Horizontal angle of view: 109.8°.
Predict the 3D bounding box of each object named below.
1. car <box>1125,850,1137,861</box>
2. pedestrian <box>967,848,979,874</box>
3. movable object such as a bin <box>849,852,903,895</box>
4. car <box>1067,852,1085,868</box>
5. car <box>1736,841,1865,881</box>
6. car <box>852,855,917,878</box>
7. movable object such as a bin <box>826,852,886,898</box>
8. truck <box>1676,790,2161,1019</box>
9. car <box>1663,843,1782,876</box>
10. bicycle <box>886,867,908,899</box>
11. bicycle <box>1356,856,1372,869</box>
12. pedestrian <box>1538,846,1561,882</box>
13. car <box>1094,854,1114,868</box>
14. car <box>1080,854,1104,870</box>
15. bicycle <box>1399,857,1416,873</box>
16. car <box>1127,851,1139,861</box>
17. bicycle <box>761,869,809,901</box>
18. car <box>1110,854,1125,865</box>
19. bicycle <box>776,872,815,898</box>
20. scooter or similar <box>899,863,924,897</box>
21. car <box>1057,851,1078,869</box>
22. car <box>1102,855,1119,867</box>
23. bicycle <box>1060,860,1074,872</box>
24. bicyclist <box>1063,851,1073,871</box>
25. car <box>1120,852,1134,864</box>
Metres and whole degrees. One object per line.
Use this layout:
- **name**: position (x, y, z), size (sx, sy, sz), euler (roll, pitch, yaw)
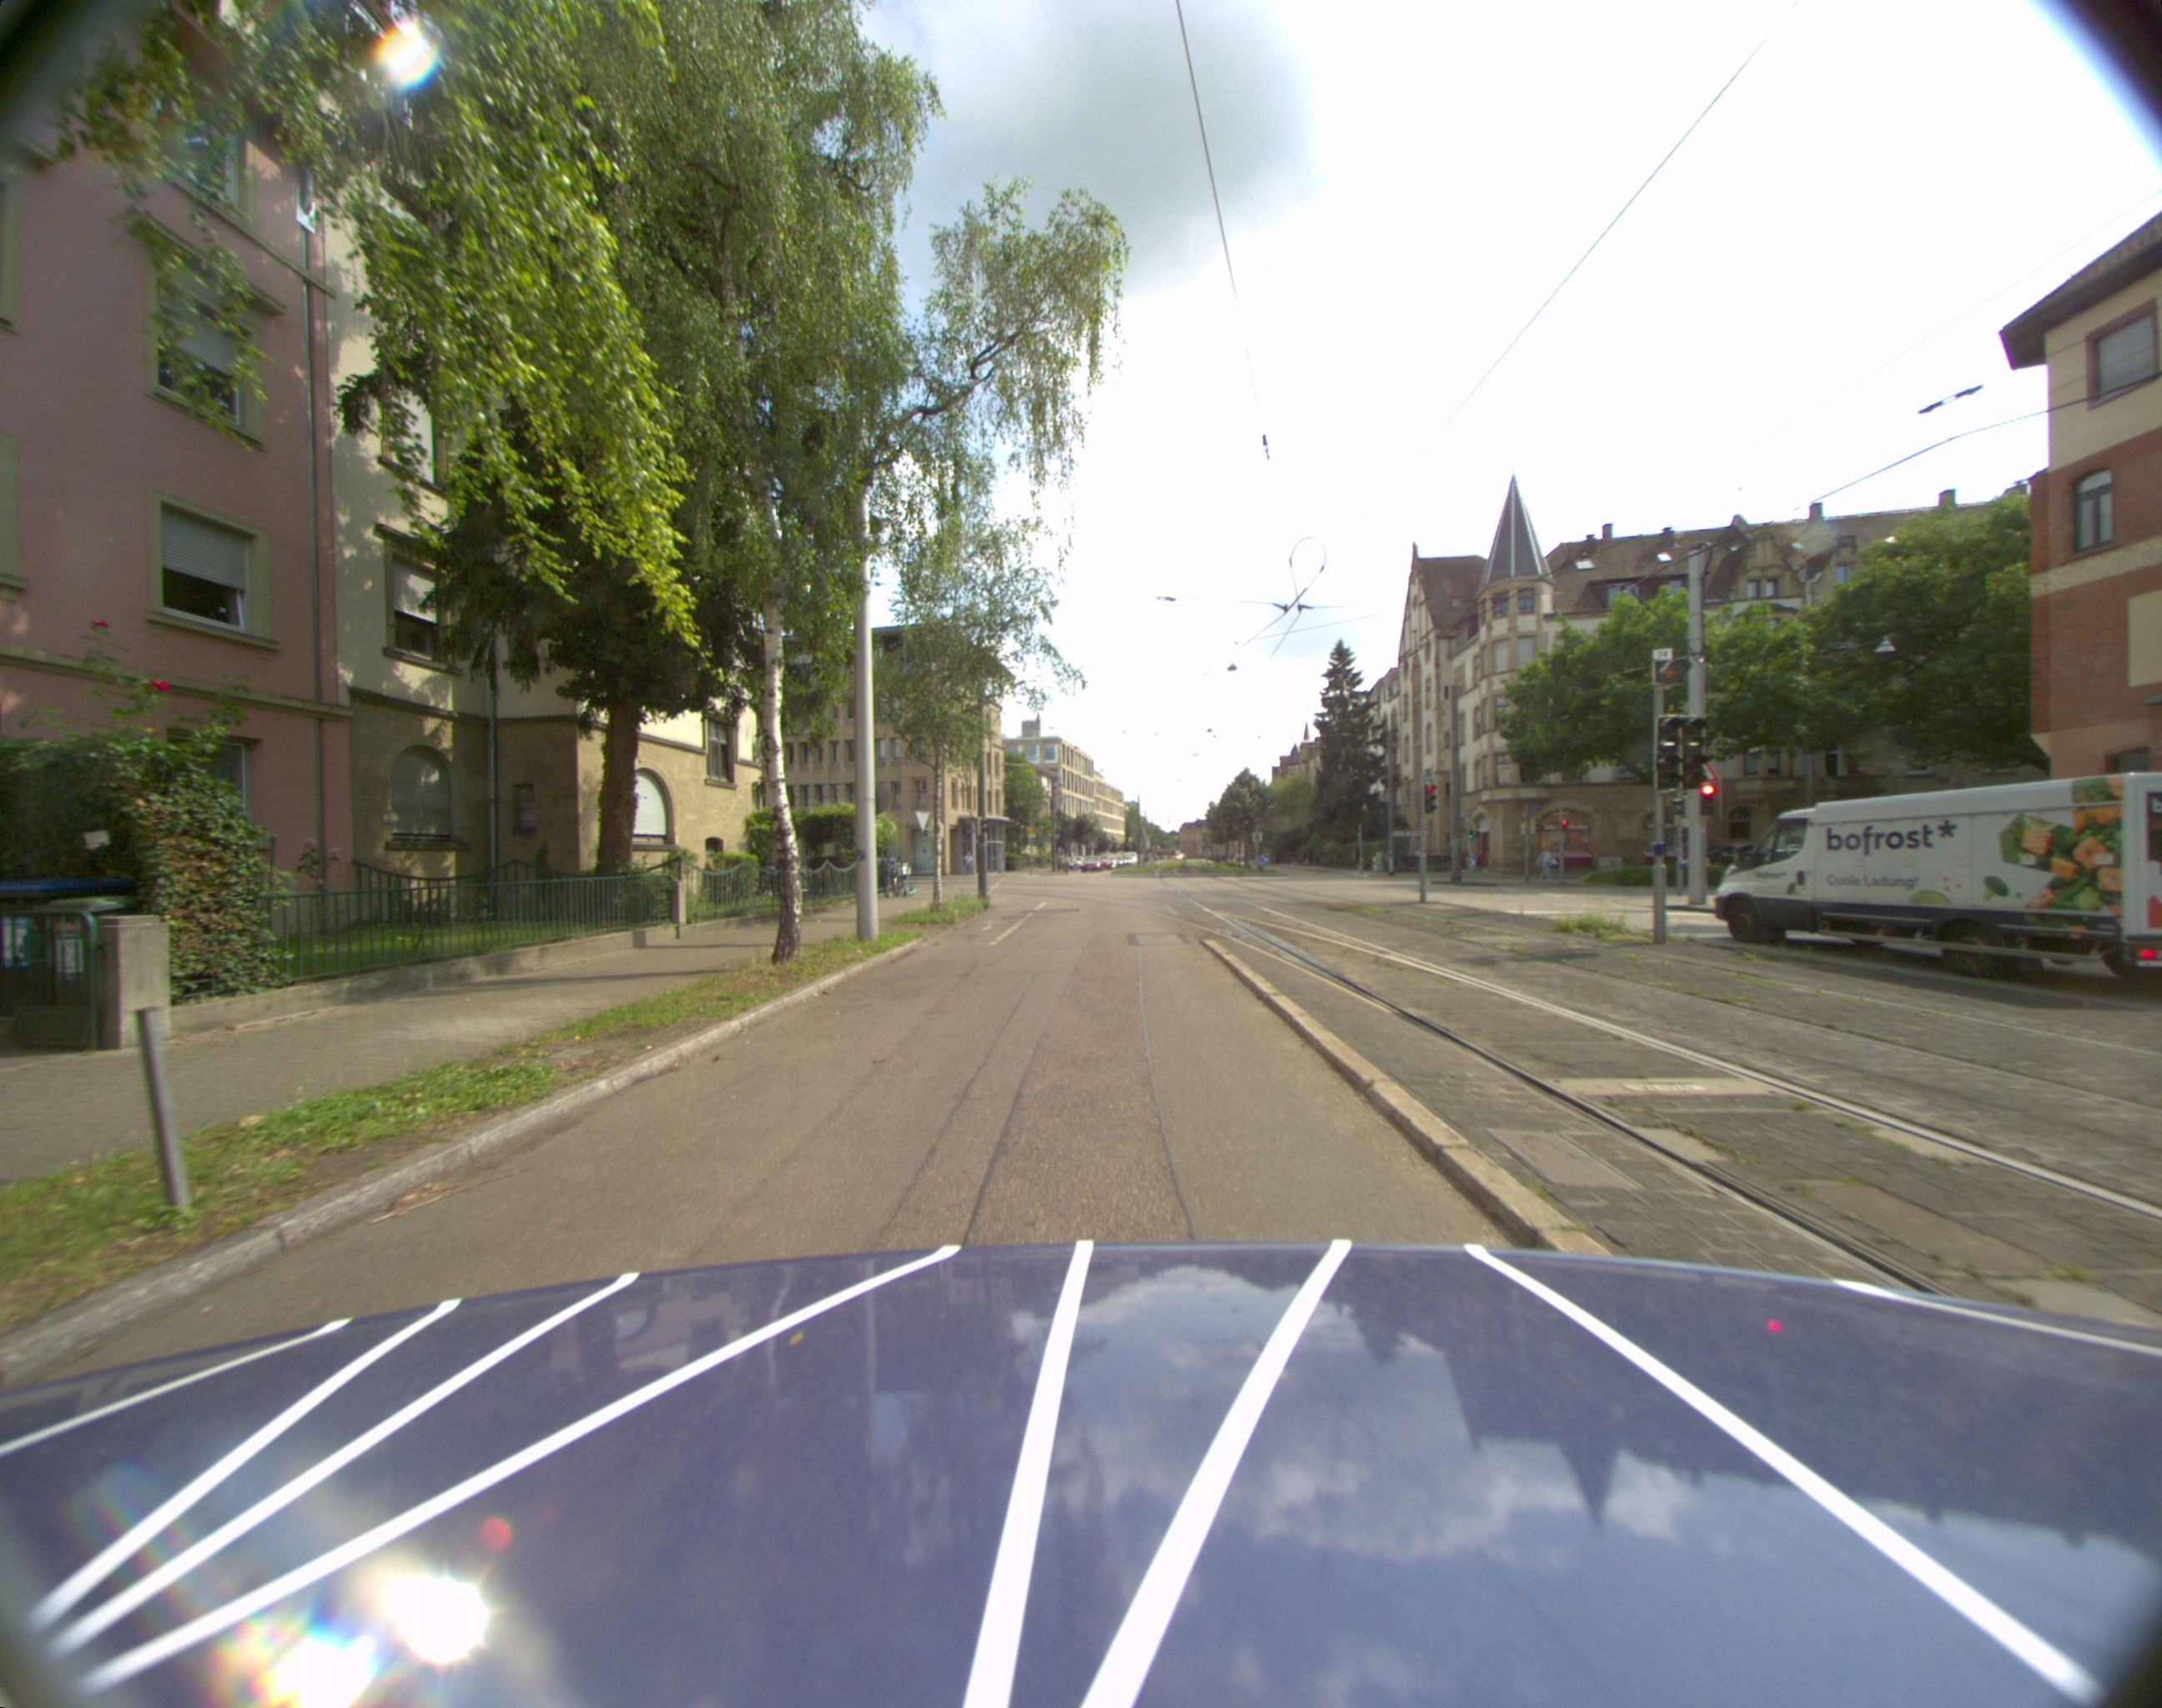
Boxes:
- **car**: position (7.272, 0.263, 111.039), size (1.579, 1.549, 4.002), euler (-1, 0, 6)
- **pedestrian**: position (-7.742, 0.499, 54.421), size (0.737, 1.832, 0.806), euler (-1, 1, -13)
- **movable object such as a bin**: position (-7.414, 0.694, 27.613), size (1.305, 1.483, 2.000), euler (0, 0, 3)
- **car**: position (-0.526, 0.672, 85.981), size (1.835, 1.674, 4.000), euler (-1, 0, 2)
- **car**: position (34.184, 0.310, 36.203), size (3.993, 1.811, 2.002), euler (0, 1, 11)
- **car**: position (-13.593, 0.881, 52.671), size (3.993, 1.538, 1.678), euler (-1, 0, 13)
- **movable object such as a bin**: position (-7.511, 0.672, 25.465), size (1.305, 1.483, 2.000), euler (0, 0, 3)
- **truck**: position (11.577, 0.471, 10.483), size (2.189, 2.201, 6.615), euler (0, 0, 7)
- **car**: position (33.041, 0.273, 39.270), size (4.261, 1.675, 2.001), euler (0, 1, 8)
- **bicycle**: position (-6.369, 0.991, 26.334), size (0.350, 1.016, 1.481), euler (2, 1, 2)
- **bicycle**: position (21.978, 0.664, 59.013), size (0.625, 0.966, 2.337), euler (-1, 0, 6)
- **pedestrian**: position (22.884, 0.476, 37.136), size (0.932, 1.730, 0.771), euler (0, 1, 31)
- **car**: position (2.328, 0.718, 76.232), size (1.619, 1.265, 4.002), euler (-2, 0, 6)
- **car**: position (1.019, 0.689, 67.950), size (1.740, 1.313, 4.001), euler (-2, 0, 6)
- **bicycle**: position (21.967, 0.746, 51.090), size (0.591, 0.967, 1.629), euler (-1, 2, 6)
- **car**: position (8.138, 0.318, 118.900), size (1.645, 1.610, 3.714), euler (-1, 0, 6)
- **bicycle**: position (-9.471, 0.996, 24.332), size (1.314, 0.996, 0.453), euler (-1, 1, 1)
- **car**: position (4.412, 0.612, 91.219), size (1.619, 1.265, 4.002), euler (-2, 0, 6)
- **bicycle**: position (-9.902, 1.069, 26.355), size (1.169, 0.895, 0.453), euler (-1, 1, 1)
- **scooter or similar**: position (-6.083, 0.914, 27.319), size (0.521, 1.172, 1.188), euler (2, 1, 4)
- **car**: position (-1.355, 0.601, 78.596), size (1.998, 1.730, 4.000), euler (-1, 0, 1)
- **car**: position (3.330, 0.738, 84.305), size (1.619, 1.265, 4.002), euler (-2, 0, 6)
- **bicycle**: position (-1.120, 0.976, 61.643), size (0.771, 0.885, 1.893), euler (-1, 0, 8)
- **bicyclist**: position (-1.077, 0.556, 61.853), size (0.665, 1.679, 0.857), euler (0, 1, 8)
- **car**: position (6.286, 0.501, 103.923), size (1.738, 1.571, 4.002), euler (0, 0, 6)
